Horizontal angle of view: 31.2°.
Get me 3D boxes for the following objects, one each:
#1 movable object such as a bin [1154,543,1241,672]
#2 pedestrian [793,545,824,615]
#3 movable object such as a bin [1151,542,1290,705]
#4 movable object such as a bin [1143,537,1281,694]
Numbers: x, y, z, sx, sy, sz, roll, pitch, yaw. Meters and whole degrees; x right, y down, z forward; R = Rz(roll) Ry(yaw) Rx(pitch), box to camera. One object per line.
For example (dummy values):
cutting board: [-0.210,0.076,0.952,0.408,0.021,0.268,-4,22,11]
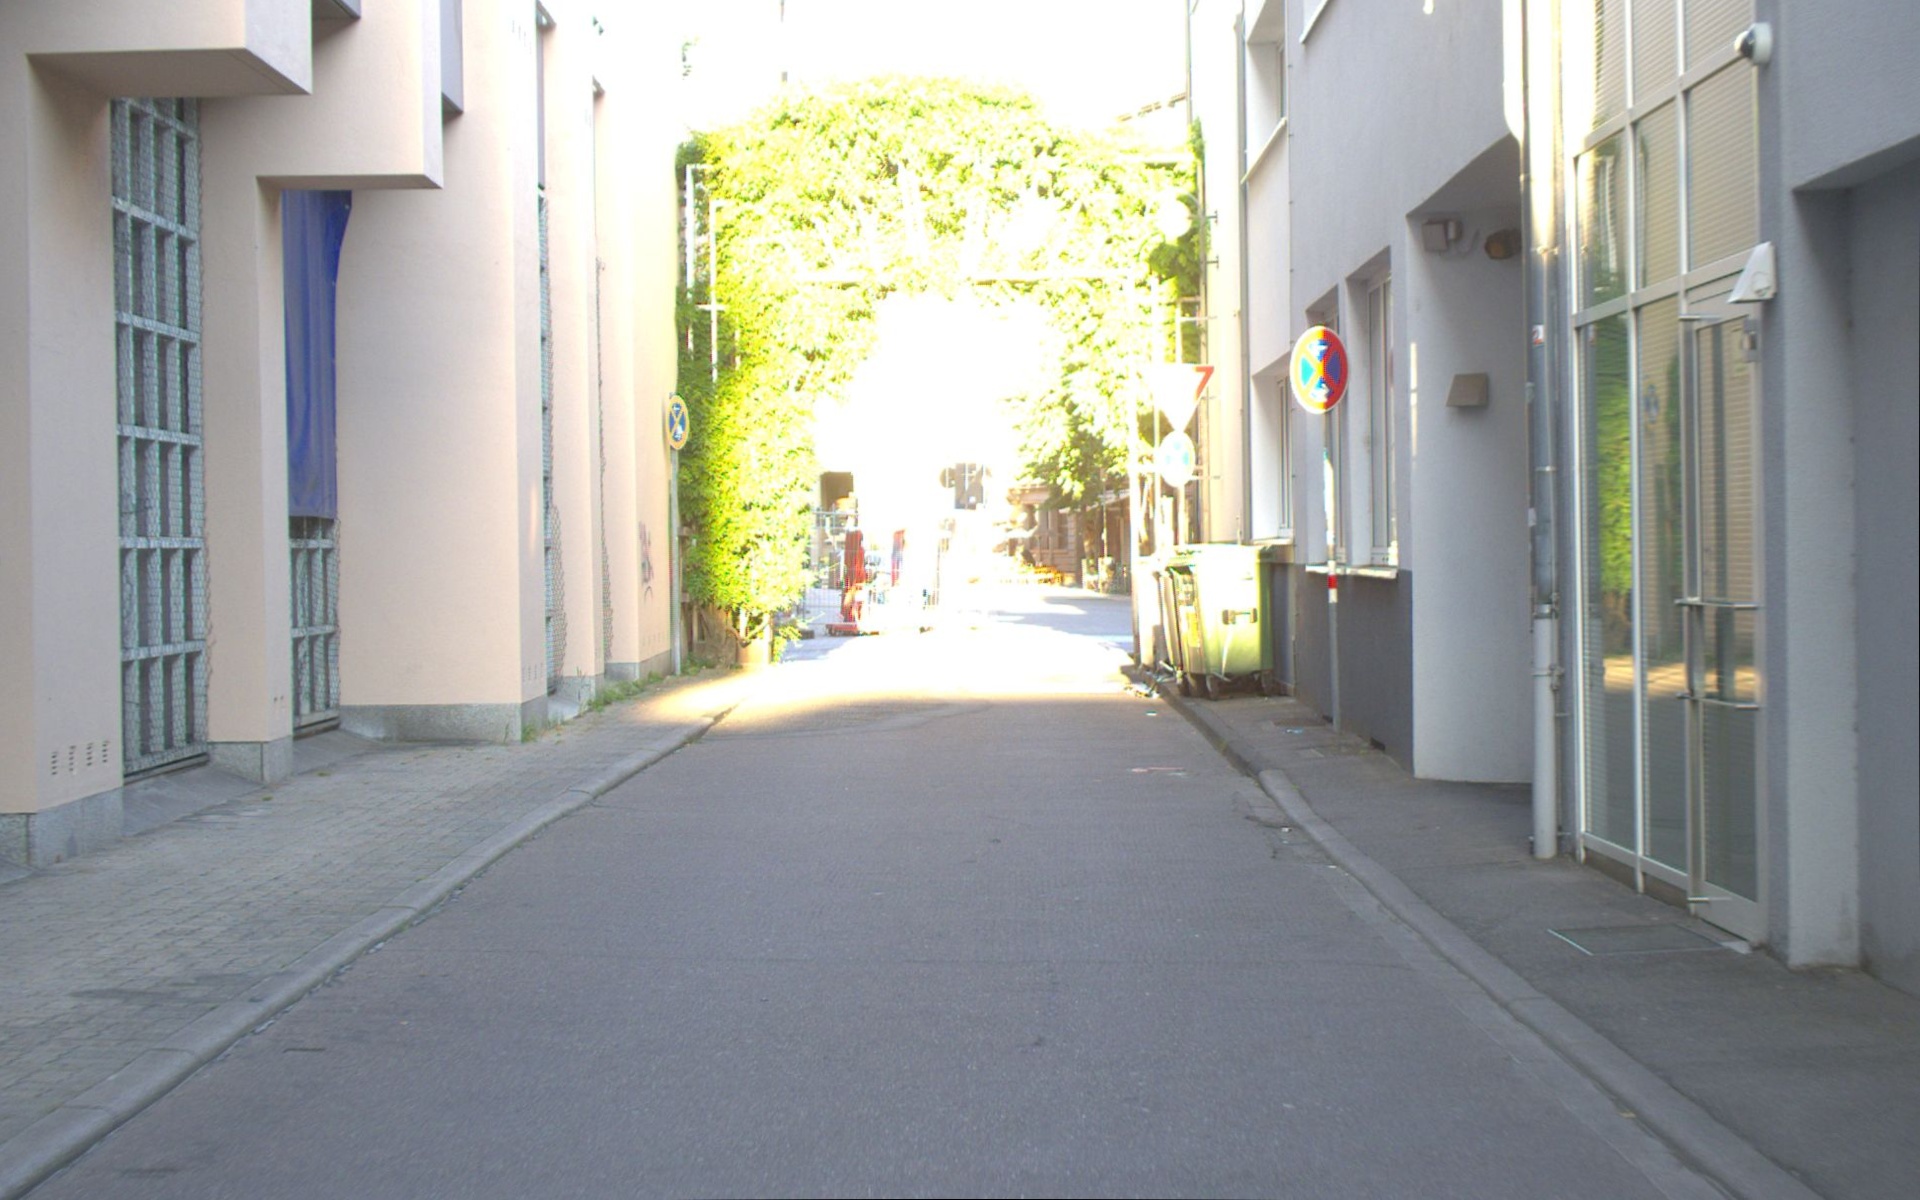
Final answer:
movable object such as a bin: [2.520,0.067,36.529,0.836,1.300,1.290,-3,1,4]
pedestrian: [-3.850,-0.512,87.374,0.654,1.758,0.634,-1,0,4]
movable object such as a bin: [2.293,0.195,30.477,0.937,1.362,1.342,-3,1,-6]
movable object such as a bin: [2.324,0.131,31.881,1.064,1.362,1.342,-3,1,-2]
